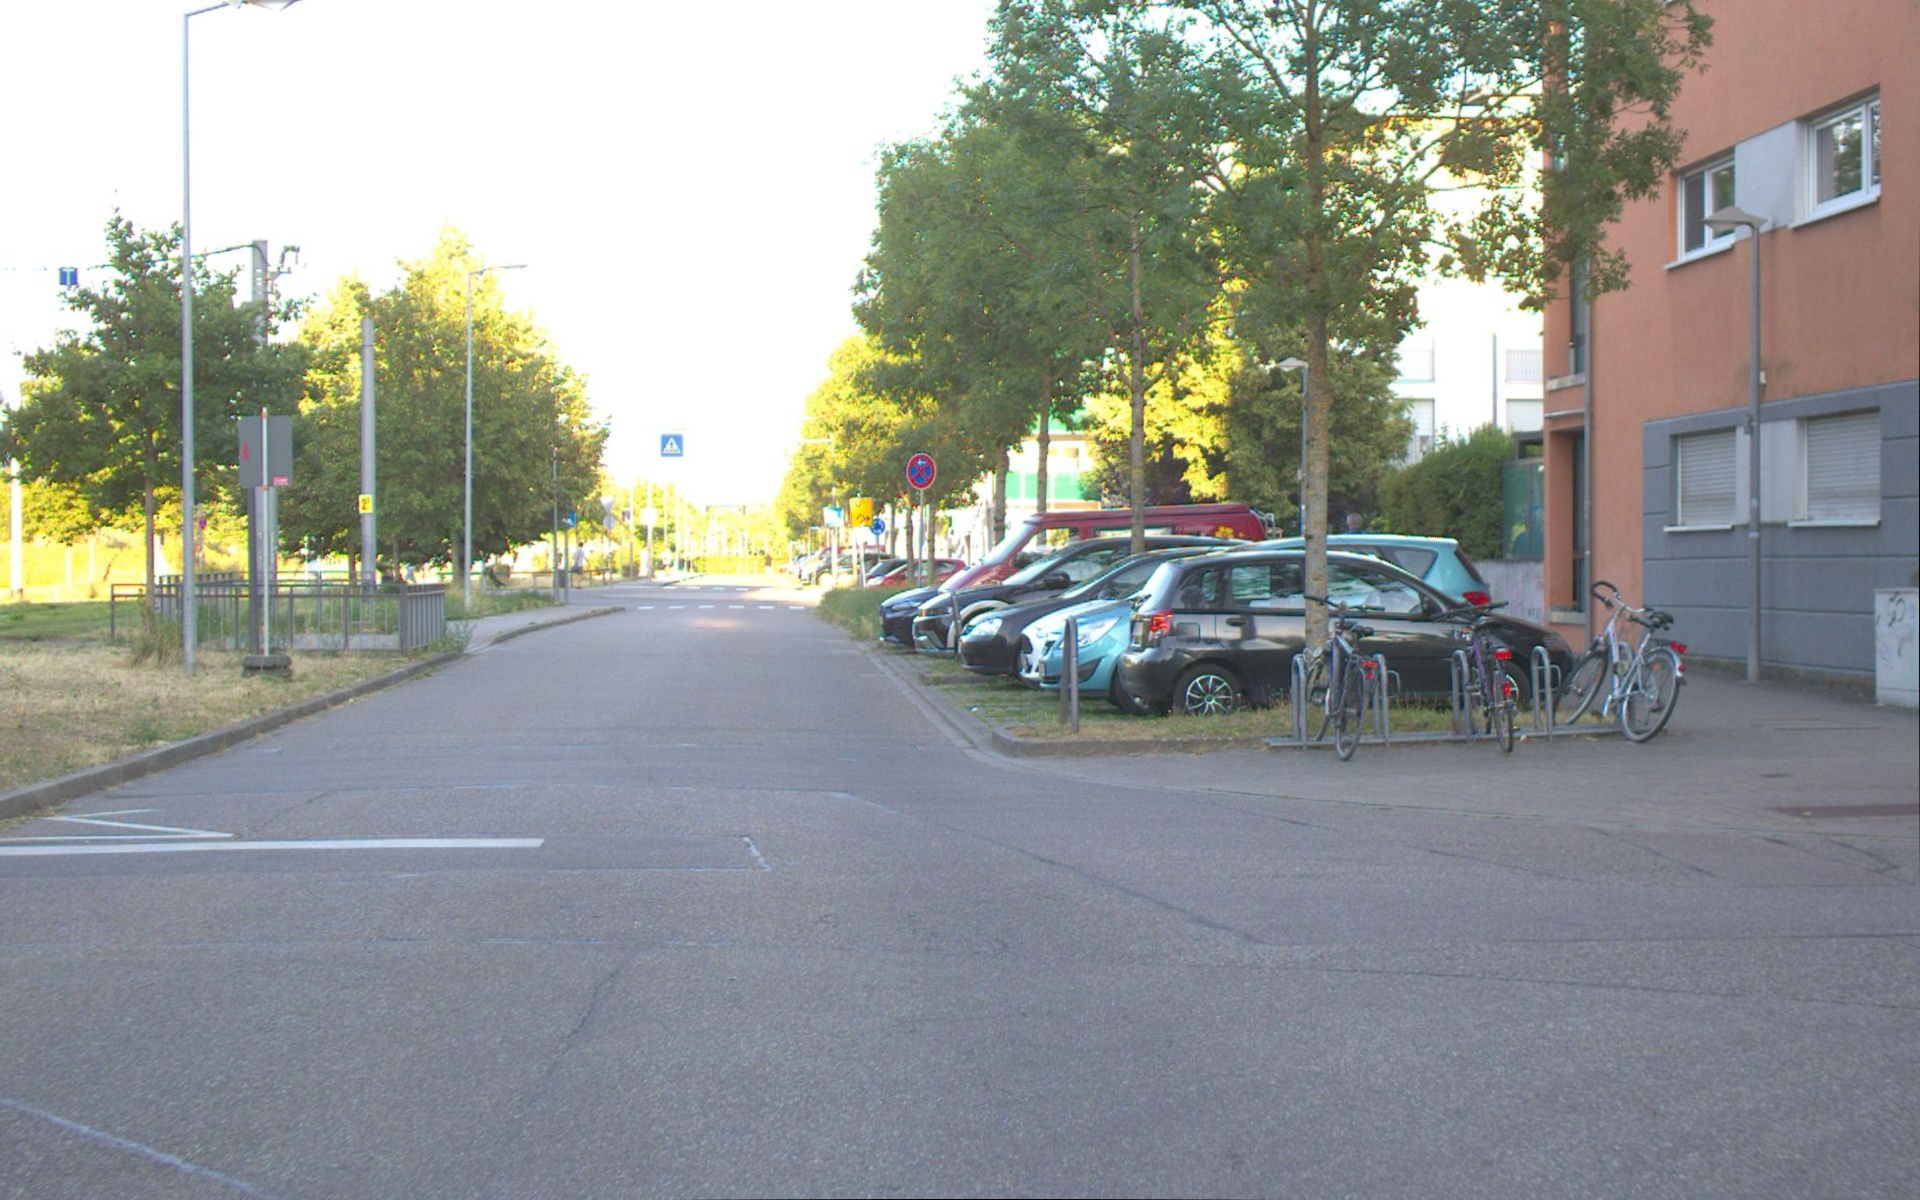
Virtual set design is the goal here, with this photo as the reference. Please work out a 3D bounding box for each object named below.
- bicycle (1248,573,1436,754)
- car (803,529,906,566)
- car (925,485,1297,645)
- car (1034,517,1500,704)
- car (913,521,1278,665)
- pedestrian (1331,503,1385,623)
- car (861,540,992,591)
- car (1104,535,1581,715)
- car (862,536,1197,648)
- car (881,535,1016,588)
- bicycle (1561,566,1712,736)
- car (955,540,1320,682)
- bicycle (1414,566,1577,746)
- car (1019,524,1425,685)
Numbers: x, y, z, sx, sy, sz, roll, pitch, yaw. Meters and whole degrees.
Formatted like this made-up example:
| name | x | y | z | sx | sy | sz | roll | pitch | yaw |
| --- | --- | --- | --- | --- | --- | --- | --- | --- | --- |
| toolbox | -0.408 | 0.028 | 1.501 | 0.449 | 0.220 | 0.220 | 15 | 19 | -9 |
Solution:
| name | x | y | z | sx | sy | sz | roll | pitch | yaw |
| --- | --- | --- | --- | --- | --- | --- | --- | --- | --- |
| bicycle | 2.739 | 0.436 | 24.847 | 0.716 | 1.148 | 1.899 | -2 | 3 | -14 |
| car | -4.643 | -2.305 | 150.793 | 4.484 | 1.590 | 2.000 | 0 | 1 | -2 |
| car | 2.016 | -0.489 | 46.926 | 4.919 | 2.110 | 2.017 | 0 | 1 | -2 |
| car | 2.785 | 0.074 | 31.706 | 4.050 | 1.563 | 1.673 | -2 | 1 | -3 |
| car | 1.603 | -0.103 | 41.670 | 4.215 | 1.563 | 1.793 | -2 | 1 | -3 |
| pedestrian | 5.797 | -0.542 | 50.107 | 0.668 | 1.737 | 0.699 | 0 | 1 | -3 |
| car | -1.011 | -1.049 | 103.187 | 3.802 | 1.503 | 1.679 | 0 | 1 | -5 |
| car | 3.221 | 0.185 | 29.275 | 3.748 | 1.468 | 1.614 | 0 | 1 | -8 |
| car | 0.968 | -0.135 | 49.399 | 4.668 | 1.551 | 1.811 | 0 | 1 | -4 |
| car | -0.346 | -1.144 | 100.503 | 3.802 | 1.503 | 1.679 | 0 | 1 | -5 |
| bicycle | 4.971 | 0.351 | 25.370 | 0.529 | 1.123 | 1.963 | 1 | 3 | -5 |
| car | 1.877 | 0.121 | 37.034 | 3.773 | 1.490 | 1.539 | 0 | -1 | -3 |
| bicycle | 3.827 | 0.377 | 24.692 | 0.679 | 1.148 | 1.928 | -2 | 3 | -5 |
| car | 2.586 | 0.025 | 34.442 | 3.876 | 1.563 | 1.620 | 0 | 1 | -3 |
